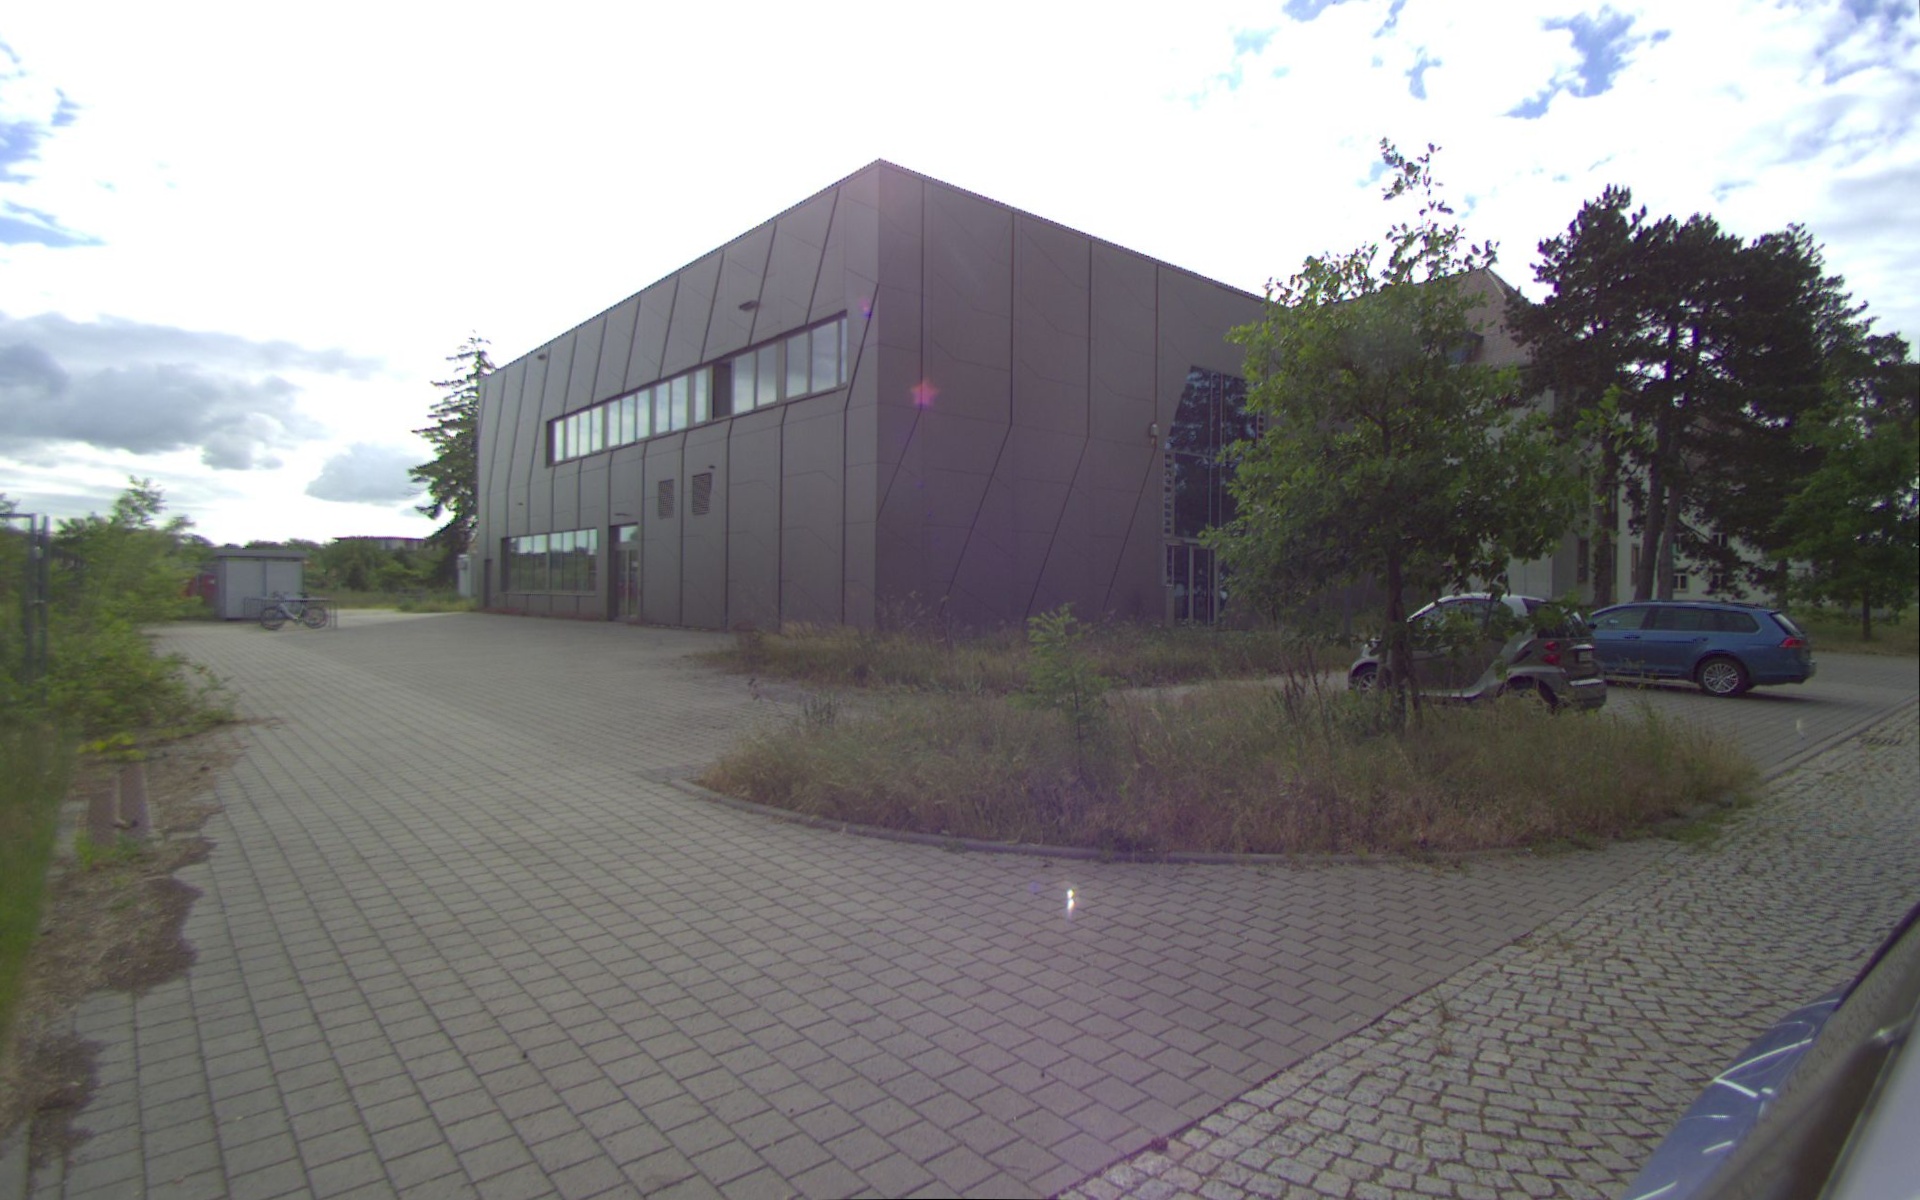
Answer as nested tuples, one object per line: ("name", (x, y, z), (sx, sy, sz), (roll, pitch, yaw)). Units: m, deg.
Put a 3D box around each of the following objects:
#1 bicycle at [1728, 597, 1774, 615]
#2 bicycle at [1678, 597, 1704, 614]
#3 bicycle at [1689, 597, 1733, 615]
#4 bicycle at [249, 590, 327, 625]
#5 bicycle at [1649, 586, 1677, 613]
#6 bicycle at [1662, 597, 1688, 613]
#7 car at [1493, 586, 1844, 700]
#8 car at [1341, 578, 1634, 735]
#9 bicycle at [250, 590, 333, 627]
("bicycle", (48.705, 0.353, 62.298), (0.705, 1.109, 2.160), (0, 1, -43))
("bicycle", (47.378, 0.333, 65.616), (2.126, 1.070, 0.800), (0, 0, -38))
("bicycle", (47.412, 0.358, 63.932), (0.705, 1.070, 2.160), (0, 1, -43))
("bicycle", (-20.854, 0.207, 31.421), (1.953, 1.038, 0.836), (-1, 1, -39))
("bicycle", (46.602, -0.027, 67.073), (2.159, 1.753, 0.905), (0, 0, -38))
("bicycle", (46.840, 0.325, 66.274), (2.159, 1.070, 0.800), (0, 0, -38))
("car", (11.817, 0.607, 17.133), (1.899, 1.467, 4.533), (0, 3, -42))
("car", (6.437, 0.586, 12.489), (1.653, 1.601, 2.747), (0, 3, -40))
("bicycle", (-19.607, 0.223, 29.705), (1.953, 1.038, 0.836), (-1, 1, -39))
